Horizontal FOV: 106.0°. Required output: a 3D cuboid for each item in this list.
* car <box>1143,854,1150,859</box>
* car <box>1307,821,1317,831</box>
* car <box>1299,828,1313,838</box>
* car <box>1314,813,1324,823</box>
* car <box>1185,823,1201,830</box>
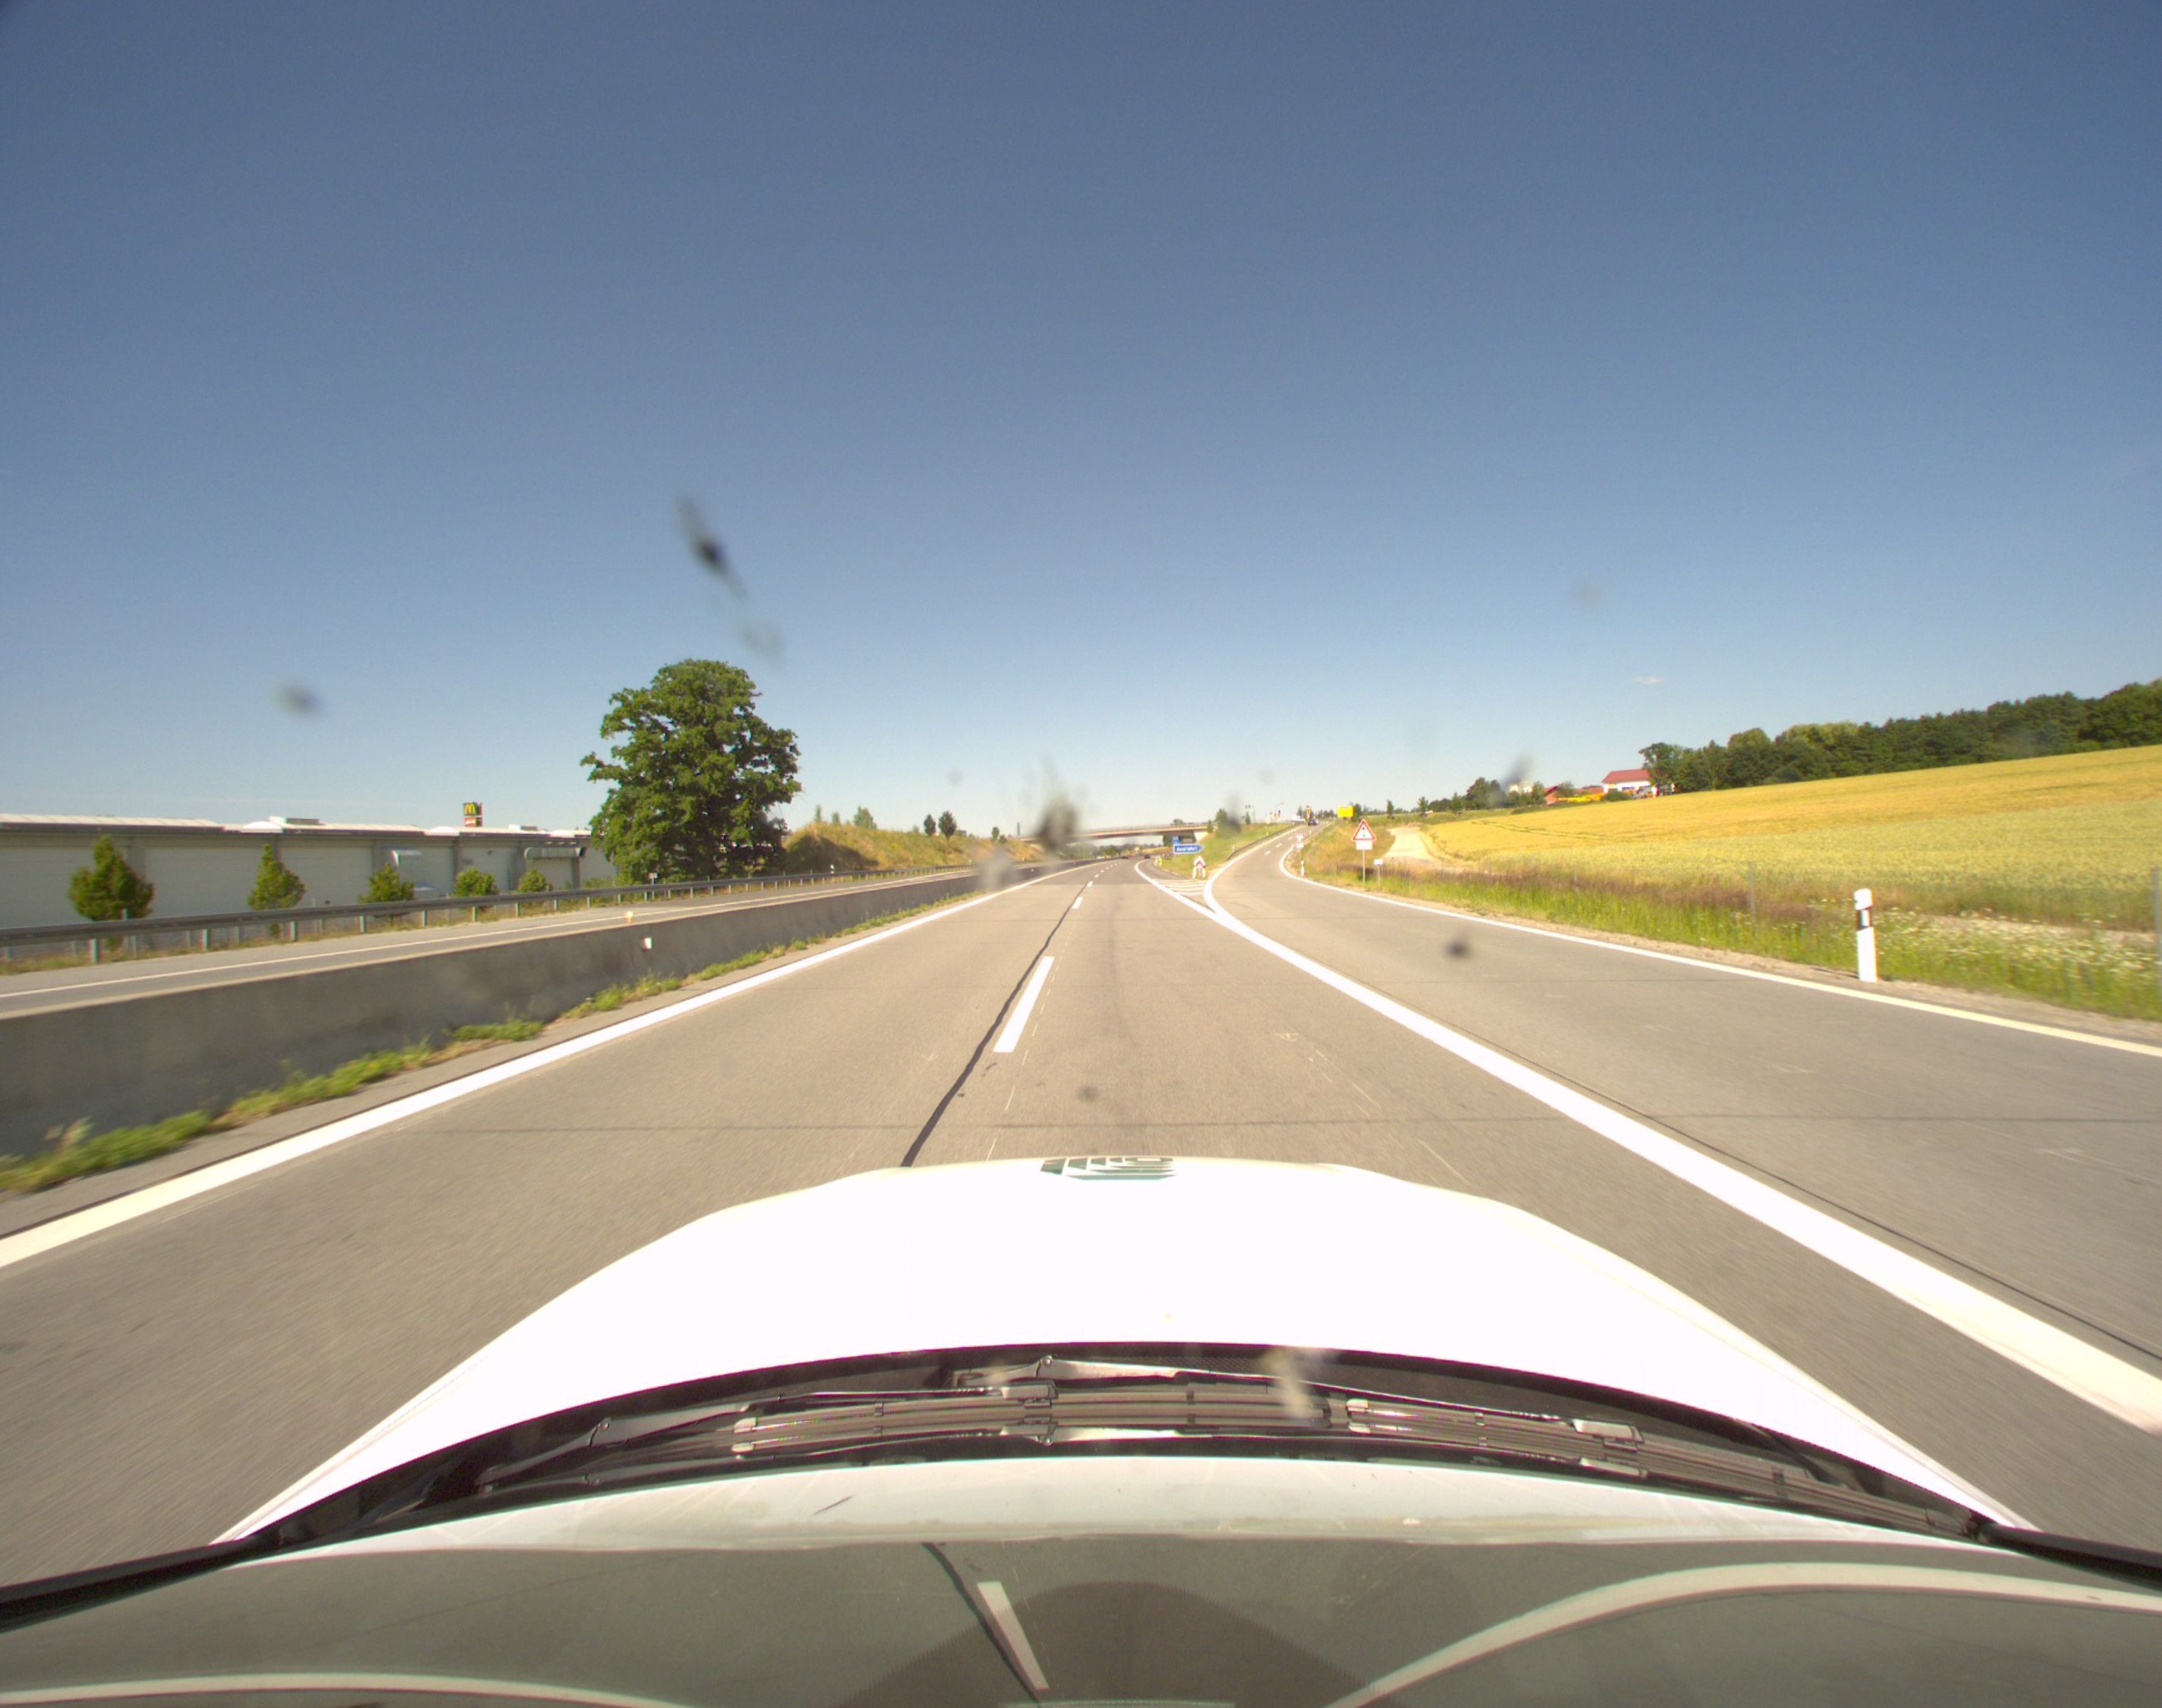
[{"bbox_3d":[19.974,0.660,249.862,1.985,1.420,4.003,-3,0,3],"label":"car"},{"bbox_3d":[53.662,-6.449,188.828,1.977,2.013,4.019,-3,0,18],"label":"car"},{"bbox_3d":[38.897,-3.657,140.844,1.977,1.618,4.019,-3,0,18],"label":"car"},{"bbox_3d":[57.214,-8.618,195.910,1.977,2.013,4.019,-3,0,18],"label":"car"},{"bbox_3d":[32.548,-7.995,236.814,4.232,2.021,2.001,-3,1,1],"label":"car"}]
